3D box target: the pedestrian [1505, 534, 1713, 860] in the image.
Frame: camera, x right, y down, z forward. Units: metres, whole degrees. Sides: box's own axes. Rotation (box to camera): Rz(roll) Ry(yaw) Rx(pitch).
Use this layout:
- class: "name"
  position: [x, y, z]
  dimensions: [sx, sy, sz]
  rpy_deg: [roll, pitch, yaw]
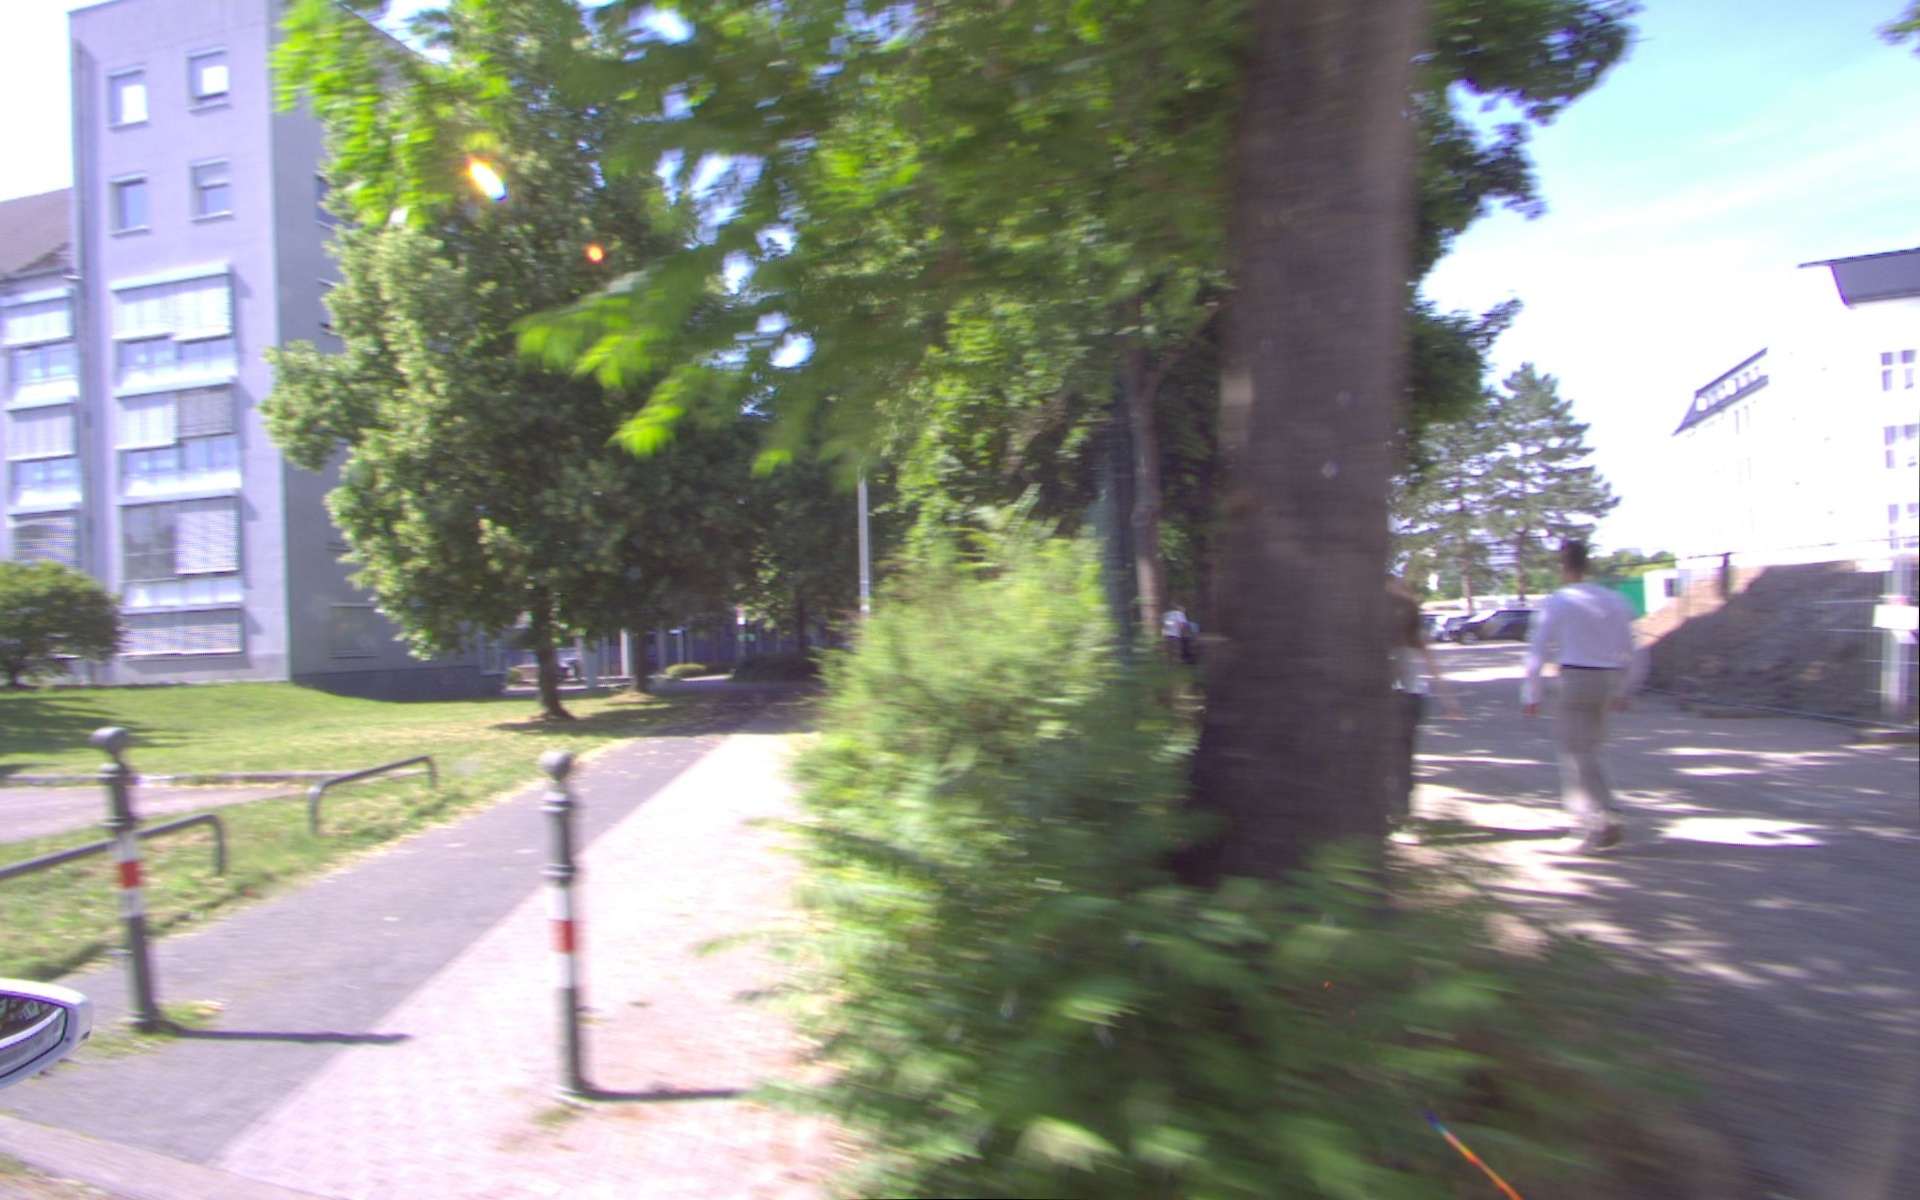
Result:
- class: "pedestrian"
  position: [3.756, 0.533, 5.873]
  dimensions: [0.743, 1.750, 0.853]
  rpy_deg: [-1, 0, 13]

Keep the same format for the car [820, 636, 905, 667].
- class: "car"
  position: [-5.563, 2.943, 57.041]
  dimensions: [4.364, 1.661, 1.995]
  rpy_deg: [-2, 0, 23]

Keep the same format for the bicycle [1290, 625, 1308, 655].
- class: "bicycle"
  position: [15.475, 1.801, 45.727]
  dimensions: [0.704, 1.301, 2.679]
  rpy_deg: [-2, -1, 20]

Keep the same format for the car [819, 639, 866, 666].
- class: "car"
  position: [-8.092, 3.617, 69.389]
  dimensions: [1.828, 1.617, 3.995]
  rpy_deg: [-2, 0, 15]

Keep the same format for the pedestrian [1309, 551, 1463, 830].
- class: "pedestrian"
  position: [2.696, 0.554, 6.416]
  dimensions: [0.724, 1.661, 0.780]
  rpy_deg: [-1, 0, 10]

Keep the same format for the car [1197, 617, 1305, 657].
- class: "car"
  position: [12.179, 1.543, 41.947]
  dimensions: [4.224, 1.544, 1.889]
  rpy_deg: [-2, -1, 19]

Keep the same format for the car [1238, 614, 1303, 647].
- class: "car"
  position: [20.452, 2.009, 65.923]
  dimensions: [3.933, 2.040, 1.763]
  rpy_deg: [-2, -1, 23]

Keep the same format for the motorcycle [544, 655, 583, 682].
- class: "motorcycle"
  position: [-20.505, 3.543, 51.833]
  dimensions: [0.619, 1.262, 2.058]
  rpy_deg: [-2, -1, 21]

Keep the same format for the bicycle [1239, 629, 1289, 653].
- class: "bicycle"
  position: [17.089, 2.321, 56.406]
  dimensions: [2.634, 1.301, 0.818]
  rpy_deg: [-2, -1, 14]

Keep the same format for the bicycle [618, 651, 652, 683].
- class: "bicycle"
  position: [-11.699, 2.407, 36.082]
  dimensions: [0.388, 1.063, 1.447]
  rpy_deg: [-2, -1, 18]

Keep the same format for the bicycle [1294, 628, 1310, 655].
- class: "bicycle"
  position: [17.133, 2.051, 50.104]
  dimensions: [0.704, 1.301, 2.632]
  rpy_deg: [-2, -1, 20]

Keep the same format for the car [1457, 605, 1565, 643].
- class: "car"
  position: [25.995, 1.129, 47.389]
  dimensions: [4.241, 1.638, 1.754]
  rpy_deg: [-2, -1, 23]

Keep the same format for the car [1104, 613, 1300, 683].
- class: "car"
  position: [6.011, 1.196, 25.250]
  dimensions: [4.583, 1.605, 1.999]
  rpy_deg: [-2, 0, 12]

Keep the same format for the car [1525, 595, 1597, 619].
- class: "car"
  position: [45.717, 0.566, 76.242]
  dimensions: [4.503, 1.623, 1.548]
  rpy_deg: [-2, -1, 23]

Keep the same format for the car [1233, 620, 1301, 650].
- class: "car"
  position: [19.345, 2.189, 63.141]
  dimensions: [3.933, 1.795, 1.763]
  rpy_deg: [-2, -1, 23]

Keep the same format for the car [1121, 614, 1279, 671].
- class: "car"
  position: [7.354, 1.307, 31.049]
  dimensions: [4.583, 1.605, 1.999]
  rpy_deg: [-2, 0, 12]

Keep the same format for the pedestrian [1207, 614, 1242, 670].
- class: "pedestrian"
  position: [7.773, 1.233, 29.427]
  dimensions: [0.910, 1.616, 0.785]
  rpy_deg: [-1, 0, 12]

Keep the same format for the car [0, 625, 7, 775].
- class: "car"
  position: [-14.409, 1.301, 11.230]
  dimensions: [1.966, 1.957, 5.029]
  rpy_deg: [-2, -2, 21]

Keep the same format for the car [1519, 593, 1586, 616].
- class: "car"
  position: [46.386, 0.402, 78.525]
  dimensions: [4.293, 1.623, 1.548]
  rpy_deg: [-2, -1, 23]
